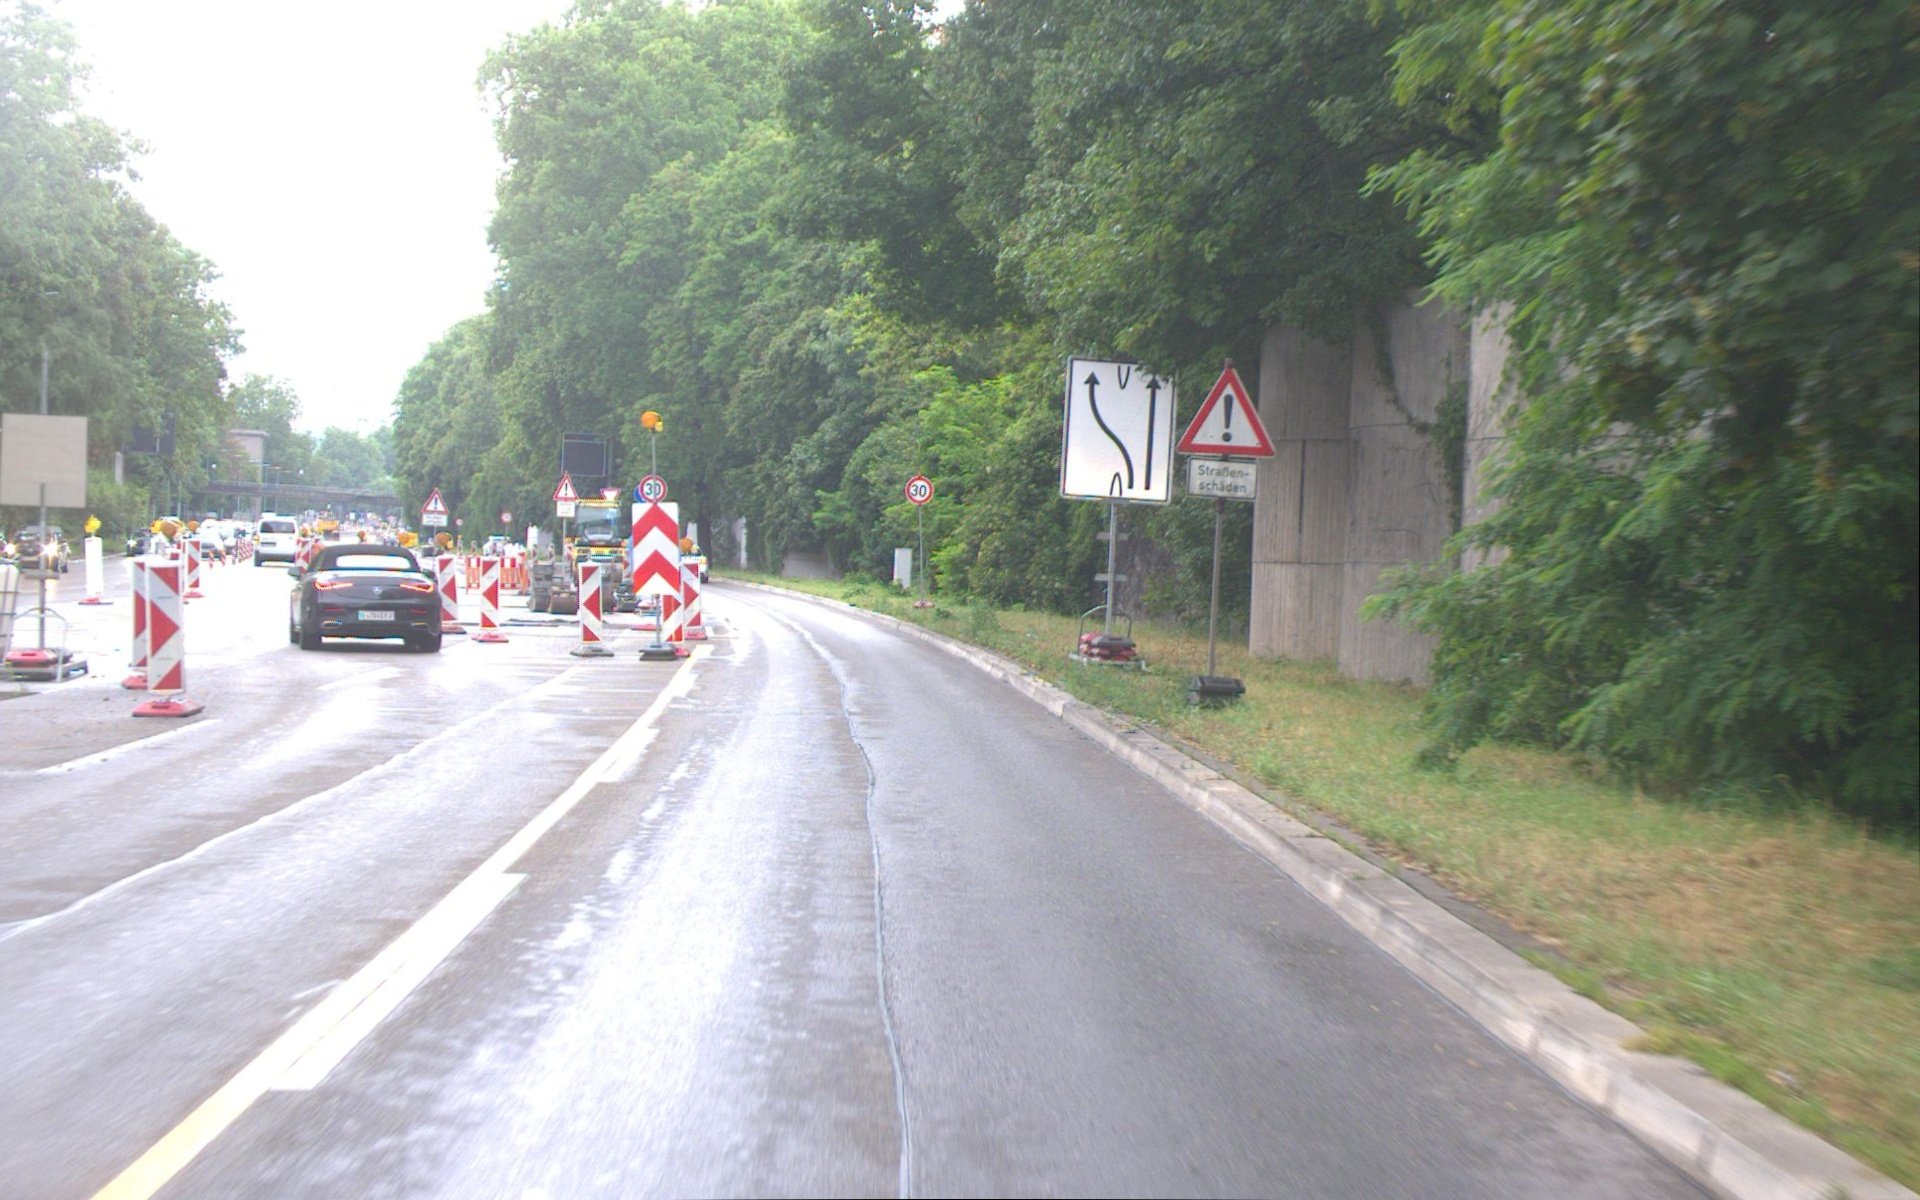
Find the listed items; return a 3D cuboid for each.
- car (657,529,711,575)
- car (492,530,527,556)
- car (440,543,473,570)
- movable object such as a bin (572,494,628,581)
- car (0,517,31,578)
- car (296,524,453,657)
[{"bbox_3d":[-10.413,-1.821,129.447,1.913,1.592,4.835,3,1,-5],"label":"car"},{"bbox_3d":[-26.321,-3.334,200.752,1.756,1.339,4.002,3,2,-11],"label":"car"},{"bbox_3d":[-34.075,-2.950,232.724,1.875,1.612,4.001,5,1,-5],"label":"car"},{"bbox_3d":[-12.168,-2.115,116.014,1.746,2.857,3.535,1,1,-7],"label":"movable object such as a bin"},{"bbox_3d":[-26.677,-1.459,93.936,1.635,1.641,4.200,1,1,-3],"label":"car"},{"bbox_3d":[-7.883,-0.165,46.578,1.861,1.486,4.002,3,3,-8],"label":"car"}]
